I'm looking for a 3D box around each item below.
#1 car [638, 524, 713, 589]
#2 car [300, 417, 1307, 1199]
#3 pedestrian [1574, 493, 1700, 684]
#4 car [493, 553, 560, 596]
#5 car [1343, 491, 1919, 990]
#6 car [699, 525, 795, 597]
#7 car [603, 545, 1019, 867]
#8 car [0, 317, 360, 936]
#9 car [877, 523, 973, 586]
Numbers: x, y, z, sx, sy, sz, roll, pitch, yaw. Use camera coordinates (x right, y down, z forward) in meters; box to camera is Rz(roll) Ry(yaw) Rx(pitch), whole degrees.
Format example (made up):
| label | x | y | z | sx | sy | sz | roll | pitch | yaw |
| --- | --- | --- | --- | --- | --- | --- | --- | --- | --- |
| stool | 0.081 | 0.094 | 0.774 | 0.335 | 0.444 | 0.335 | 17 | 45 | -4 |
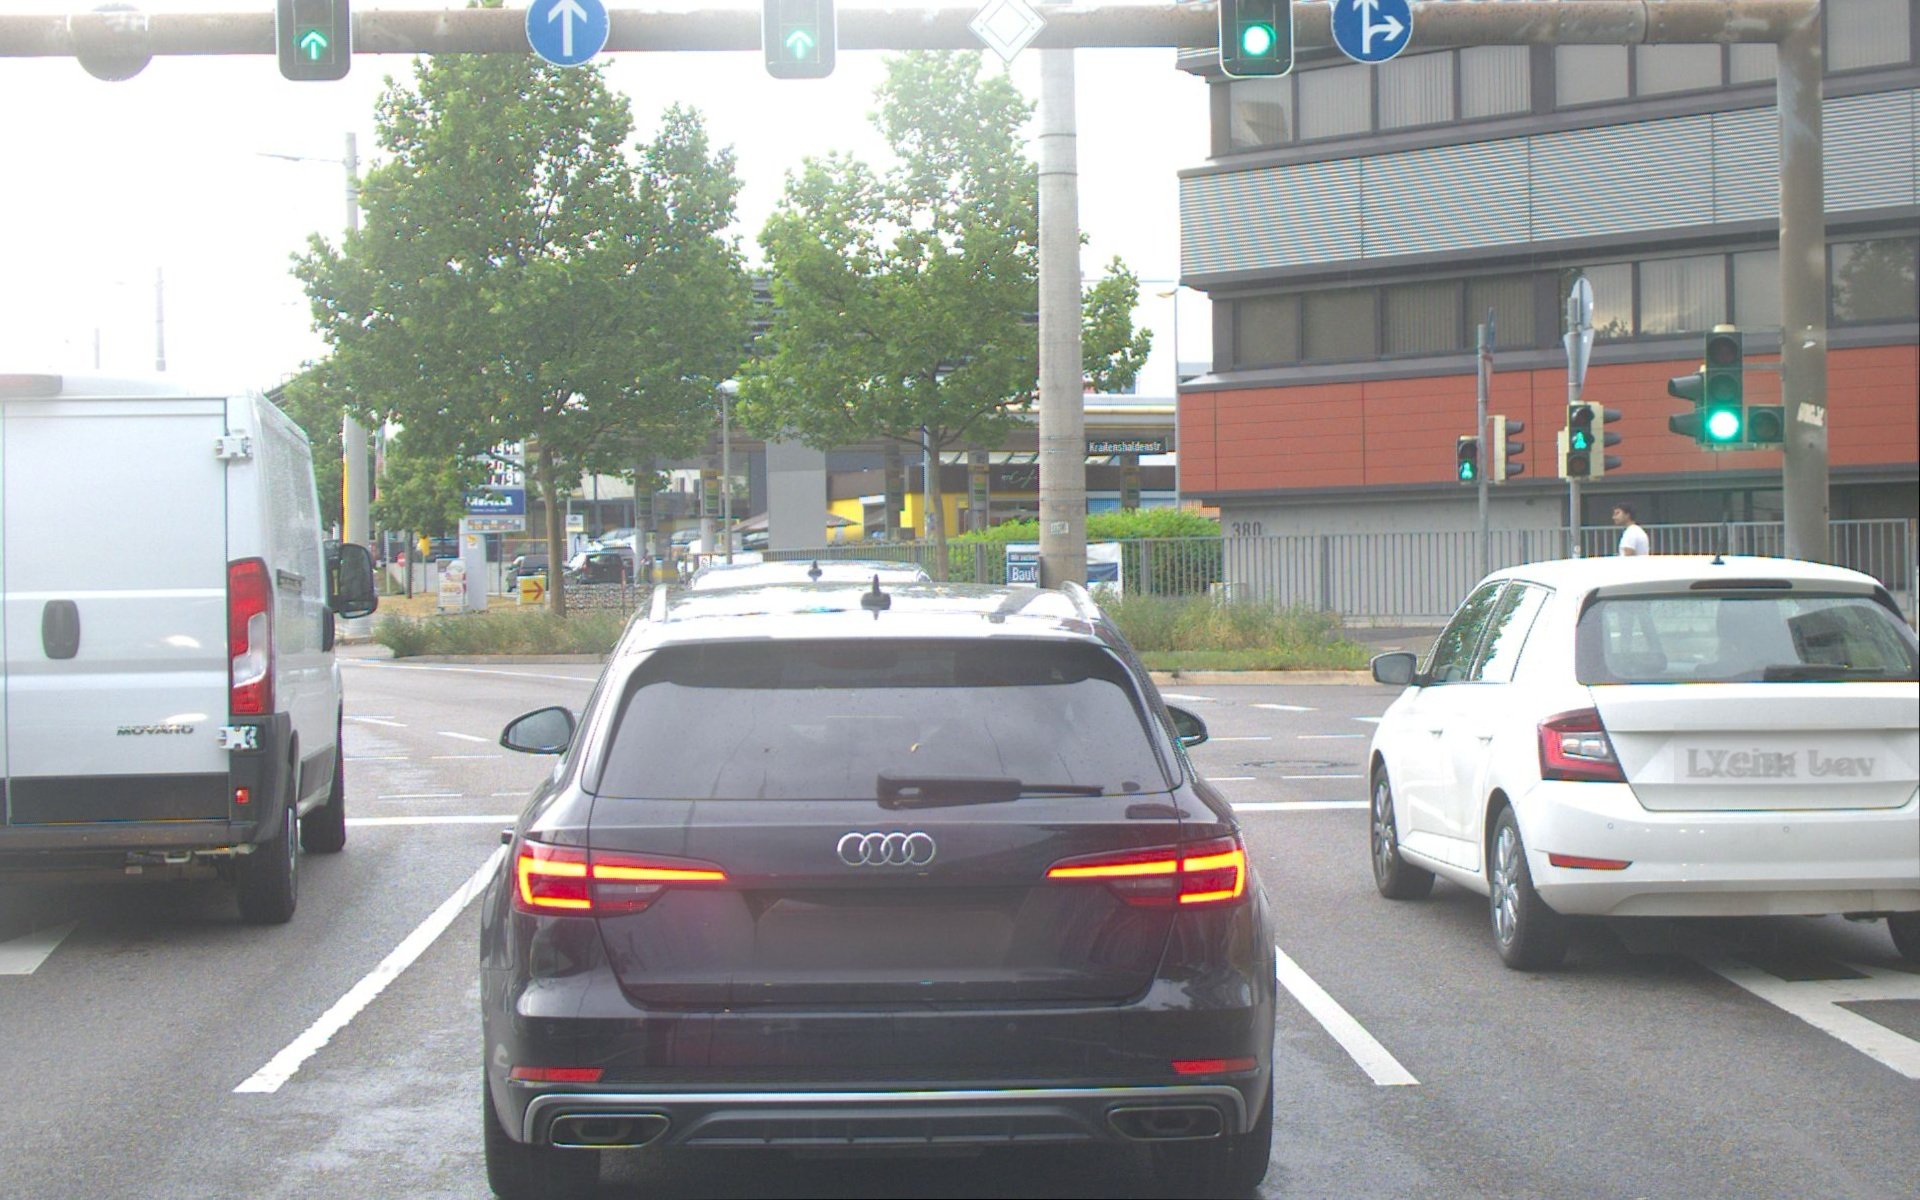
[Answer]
| label | x | y | z | sx | sy | sz | roll | pitch | yaw |
| --- | --- | --- | --- | --- | --- | --- | --- | --- | --- |
| car | -9.148 | -1.369 | 110.334 | 1.678 | 2.007 | 3.543 | 2 | 0 | -17 |
| car | -0.334 | 0.475 | 8.881 | 1.993 | 1.632 | 4.000 | 1 | 0 | -1 |
| pedestrian | 7.726 | -0.146 | 39.283 | 1.143 | 2.118 | 1.222 | -1 | 2 | -1 |
| car | -16.736 | -0.993 | 132.654 | 1.791 | 1.586 | 4.001 | -1 | 1 | -19 |
| car | 2.699 | 0.476 | 13.397 | 1.829 | 1.650 | 4.000 | 0 | 0 | -2 |
| car | -6.314 | -1.141 | 101.477 | 1.993 | 2.025 | 4.001 | -2 | 1 | -15 |
| car | -0.656 | 0.490 | 17.665 | 1.894 | 1.460 | 3.909 | 0 | 0 | 1 |
| car | -4.057 | 0.091 | 15.205 | 2.445 | 2.286 | 4.905 | 2 | 0 | -7 |
| car | -1.178 | -1.483 | 113.661 | 1.869 | 2.007 | 3.775 | 2 | 0 | -22 |
